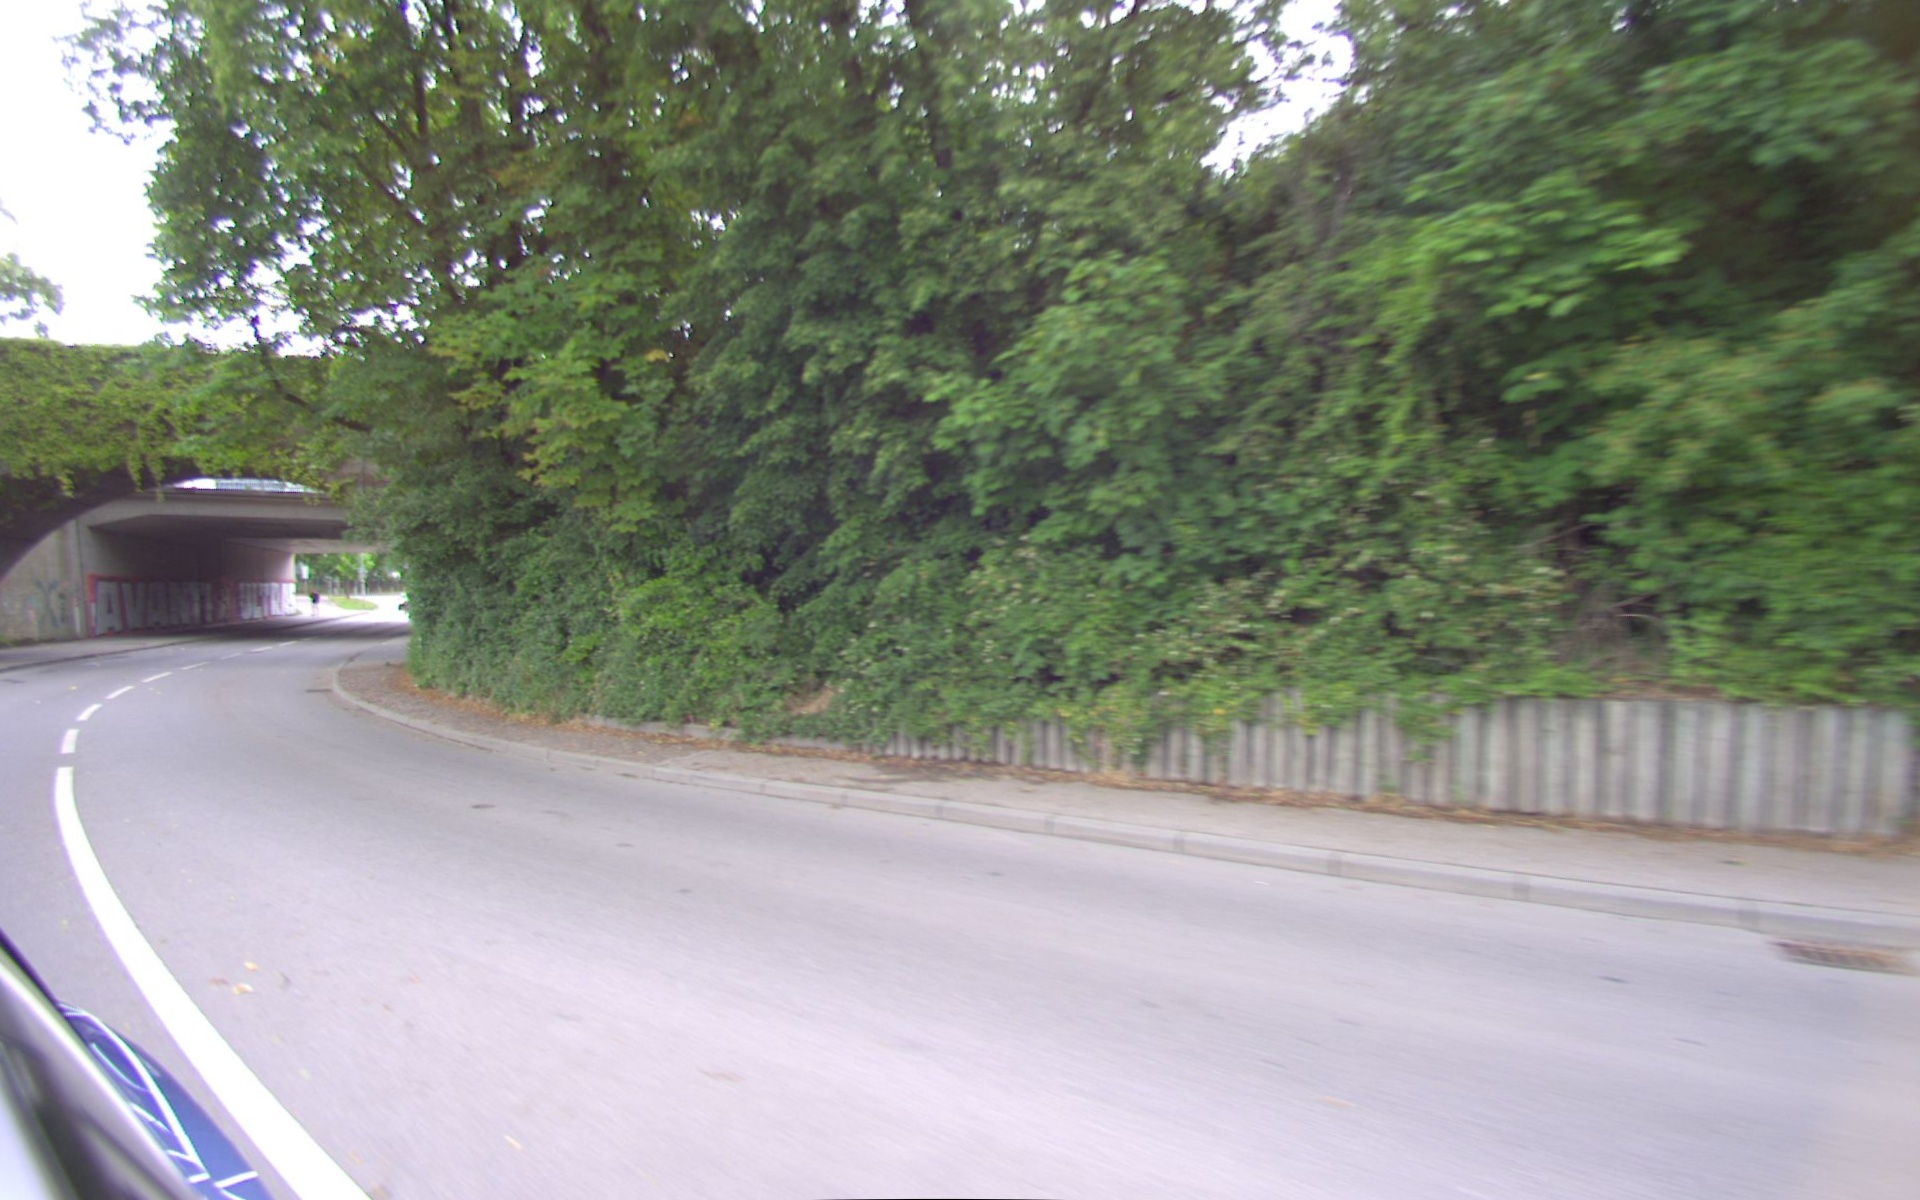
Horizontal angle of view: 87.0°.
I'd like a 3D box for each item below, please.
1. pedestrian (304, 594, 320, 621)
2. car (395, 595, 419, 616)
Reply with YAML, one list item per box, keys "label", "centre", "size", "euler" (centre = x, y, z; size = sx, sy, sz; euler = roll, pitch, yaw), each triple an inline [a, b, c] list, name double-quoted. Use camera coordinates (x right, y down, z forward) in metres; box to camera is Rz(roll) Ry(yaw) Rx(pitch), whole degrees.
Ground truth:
- label: "pedestrian"
  centre: [-46.560, 0.552, 72.703]
  size: [0.808, 1.894, 1.184]
  euler: [2, 0, -30]
- label: "car"
  centre: [-50.515, 0.506, 92.487]
  size: [1.777, 1.622, 4.191]
  euler: [1, 2, -27]
